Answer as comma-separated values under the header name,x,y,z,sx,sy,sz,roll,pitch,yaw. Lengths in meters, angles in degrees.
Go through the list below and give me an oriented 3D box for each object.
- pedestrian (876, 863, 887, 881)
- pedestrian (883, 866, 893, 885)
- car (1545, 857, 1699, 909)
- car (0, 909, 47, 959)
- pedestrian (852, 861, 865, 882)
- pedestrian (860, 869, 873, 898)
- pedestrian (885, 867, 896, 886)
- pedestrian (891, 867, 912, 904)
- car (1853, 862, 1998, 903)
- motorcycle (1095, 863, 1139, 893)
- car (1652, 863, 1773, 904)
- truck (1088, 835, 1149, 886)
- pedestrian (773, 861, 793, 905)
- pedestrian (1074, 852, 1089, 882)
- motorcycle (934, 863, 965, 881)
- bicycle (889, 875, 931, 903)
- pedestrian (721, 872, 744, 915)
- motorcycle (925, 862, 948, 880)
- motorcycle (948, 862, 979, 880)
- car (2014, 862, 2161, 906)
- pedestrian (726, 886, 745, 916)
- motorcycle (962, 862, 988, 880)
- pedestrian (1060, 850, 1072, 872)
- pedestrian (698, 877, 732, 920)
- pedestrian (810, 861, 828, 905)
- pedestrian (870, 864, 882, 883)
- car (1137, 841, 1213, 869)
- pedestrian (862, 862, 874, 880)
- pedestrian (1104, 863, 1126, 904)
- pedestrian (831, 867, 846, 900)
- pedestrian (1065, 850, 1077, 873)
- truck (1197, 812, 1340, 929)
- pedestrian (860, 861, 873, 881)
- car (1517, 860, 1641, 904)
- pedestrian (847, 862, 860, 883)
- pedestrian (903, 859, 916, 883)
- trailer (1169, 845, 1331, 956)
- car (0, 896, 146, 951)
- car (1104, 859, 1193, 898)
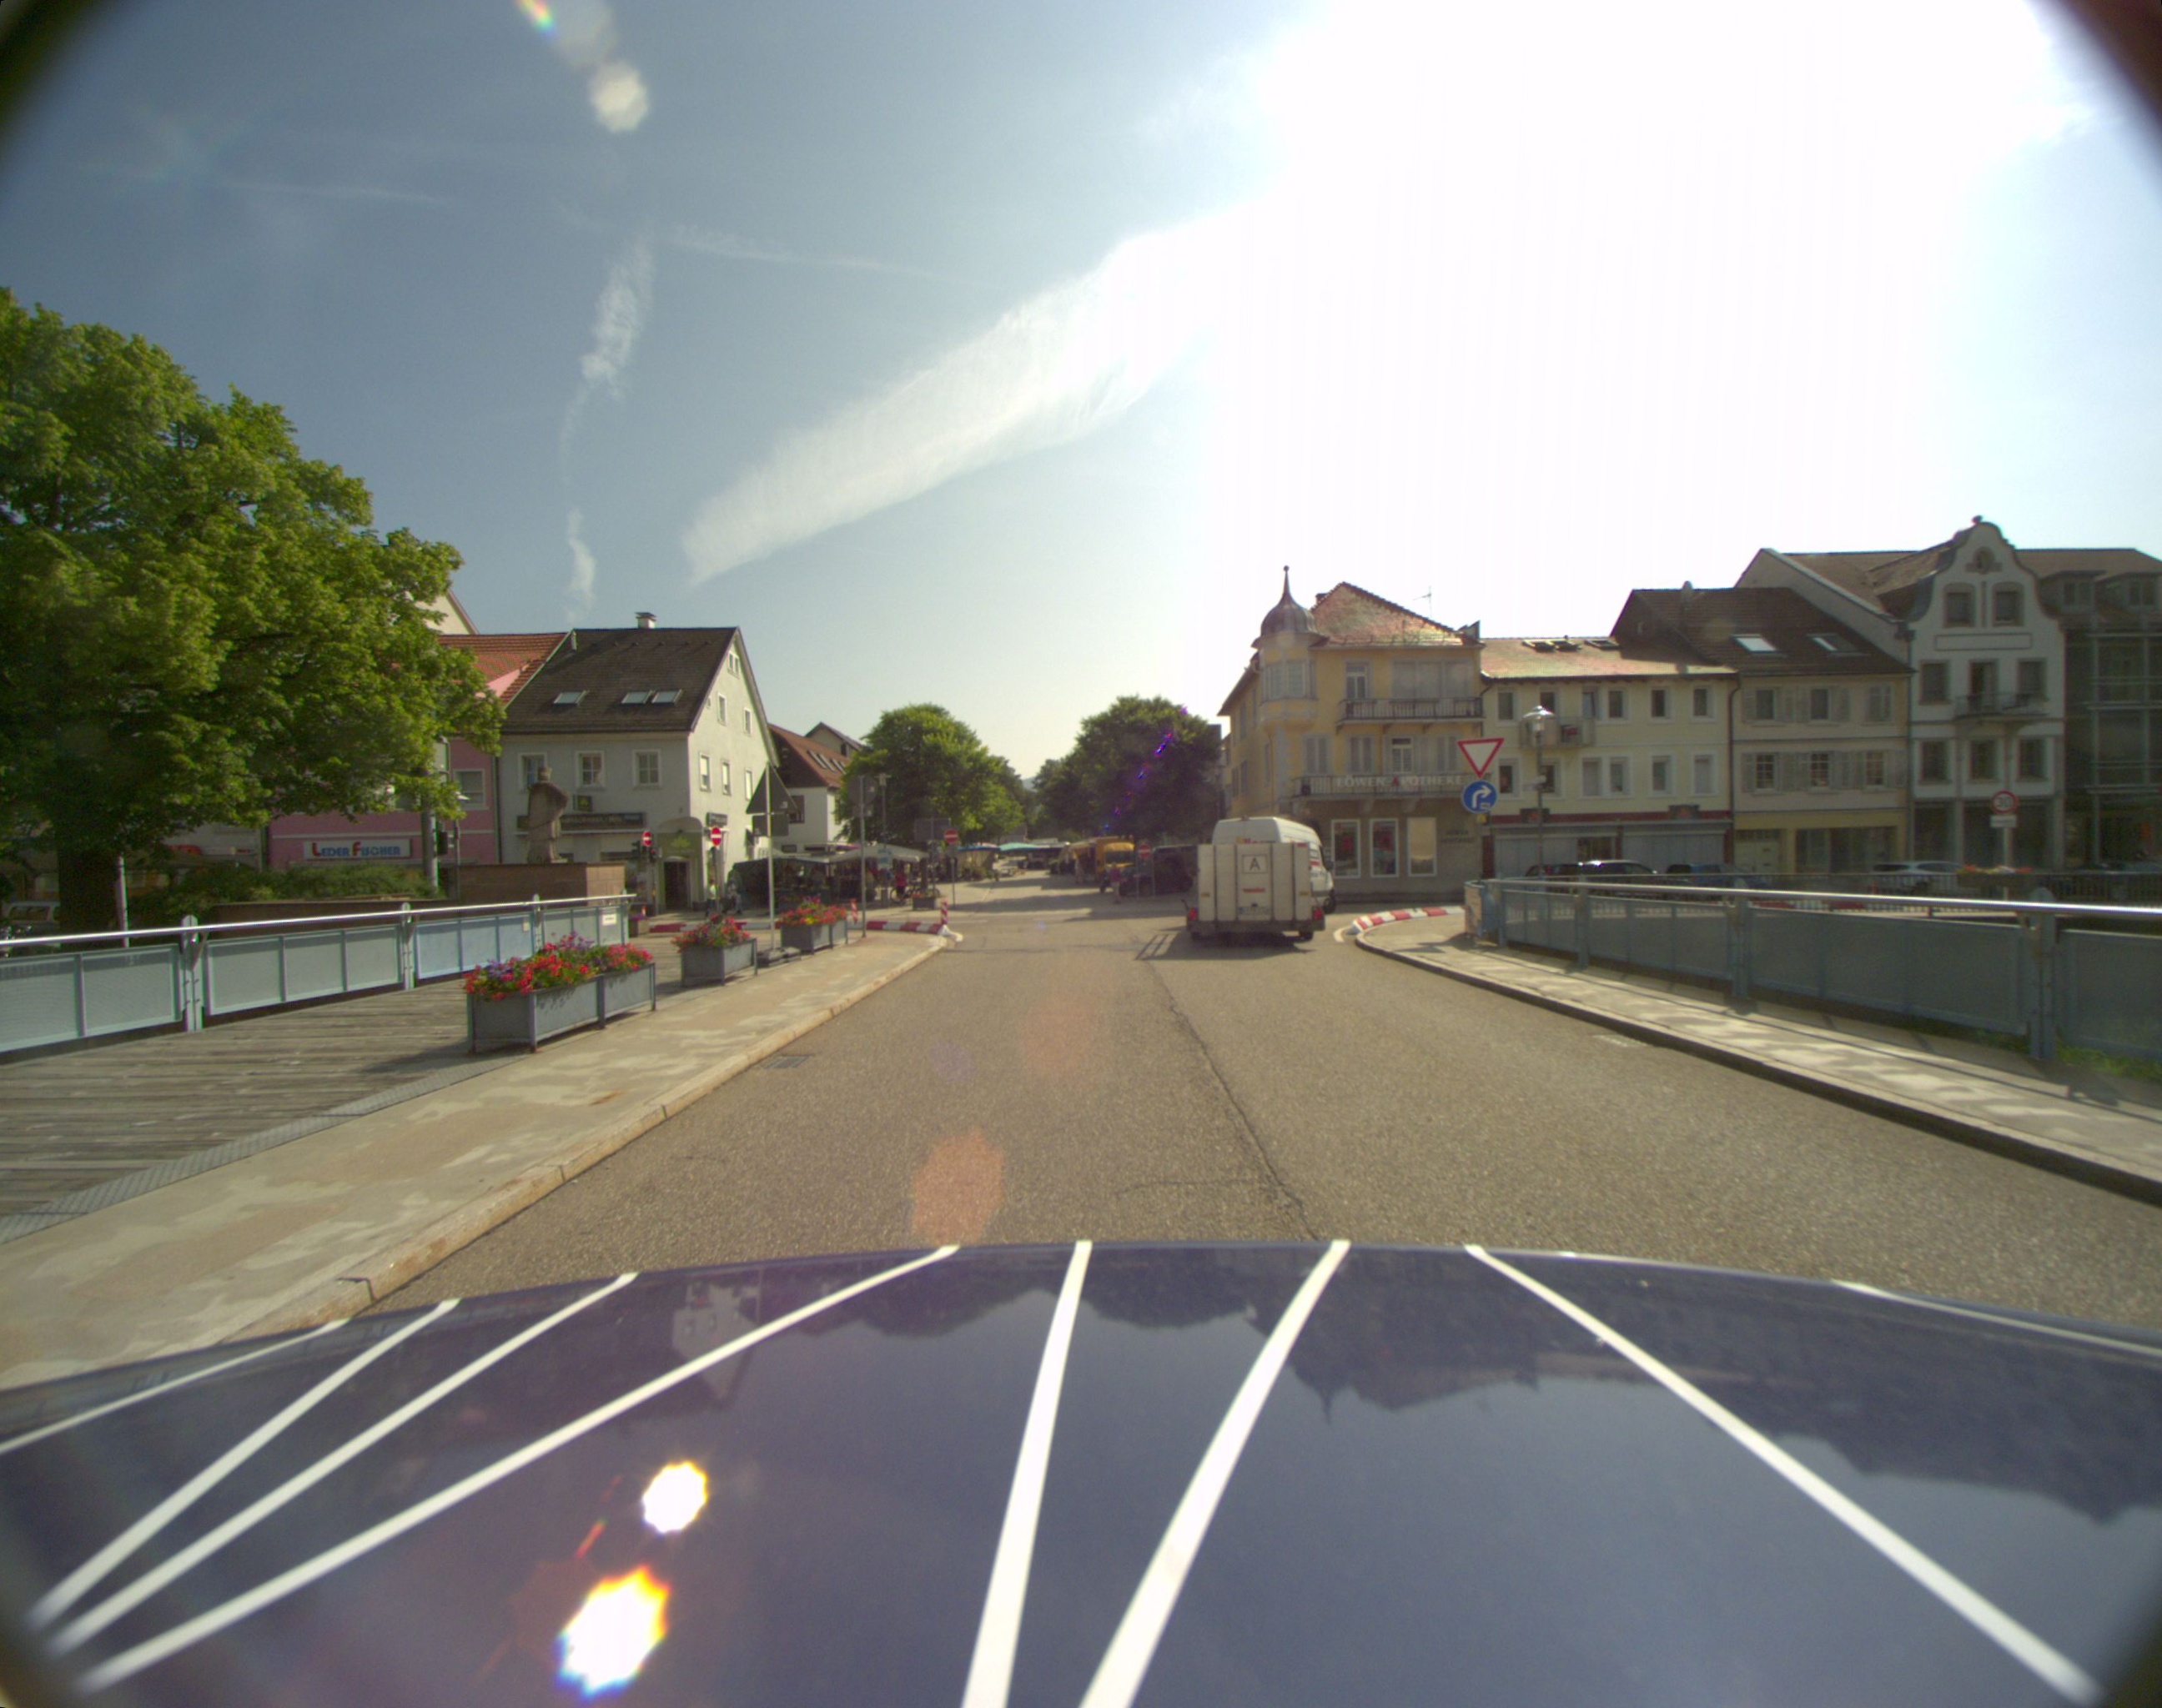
name,x,y,z,sx,sy,sz,roll,pitch,yaw
pedestrian,-13.650,1.206,51.901,0.572,1.194,0.650,1,2,0
pedestrian,-12.425,1.353,48.865,0.572,1.194,0.650,0,2,-11
car,18.210,0.955,25.685,3.968,1.552,1.684,-2,0,-1
car,-38.598,2.816,25.648,4.497,1.557,1.824,-2,2,-4
pedestrian,-14.659,1.147,50.038,0.626,1.323,0.699,1,2,2
pedestrian,-11.318,1.541,40.104,0.622,1.509,0.632,-2,0,-13
pedestrian,-11.996,1.396,47.802,0.700,1.194,0.571,0,2,-15
pedestrian,-8.142,1.426,34.458,0.884,1.649,0.571,0,2,-13
car,32.907,1.083,29.669,3.793,1.439,1.752,-1,0,-3
motorcycle,1.819,1.228,38.599,2.086,1.353,0.888,-4,1,-3
car,24.449,1.129,29.477,3.274,1.439,1.752,-1,0,-3
truck,2.108,0.250,46.422,3.009,2.742,8.857,-2,2,-1
pedestrian,-13.427,1.295,34.236,0.707,1.959,0.508,-2,0,-7
pedestrian,0.034,0.795,47.287,0.682,1.777,0.726,-4,2,-10
motorcycle,-9.162,1.246,52.813,2.002,1.189,0.644,1,2,12
bicycle,-8.038,1.644,35.747,1.863,1.228,0.616,-2,1,-14
pedestrian,-14.359,1.634,31.307,0.789,1.714,0.706,-2,0,-25
motorcycle,-10.242,1.204,53.934,1.532,1.189,0.643,1,1,-1
motorcycle,-8.272,1.196,53.458,2.002,1.189,0.644,1,1,12
car,35.972,1.027,26.785,4.198,1.348,1.756,-2,-1,-3
pedestrian,-13.970,1.906,30.750,0.623,1.153,0.515,-2,0,-20
motorcycle,-7.599,1.204,54.421,1.999,1.189,0.645,2,1,41
pedestrian,-1.138,0.545,58.778,0.682,1.672,0.582,-4,1,-16
pedestrian,-14.496,1.754,30.114,0.858,1.623,0.788,-2,3,0
pedestrian,-12.189,1.330,35.289,0.708,1.973,0.651,-2,0,-22
pedestrian,-13.378,1.267,49.532,0.572,1.194,0.650,1,2,0
car,6.737,0.060,54.856,5.071,1.880,1.999,-1,0,-5
pedestrian,-14.530,1.173,51.838,0.572,1.194,0.650,1,2,0
pedestrian,1.450,1.237,32.232,0.678,1.705,0.618,-1,2,30
pedestrian,-12.250,1.469,38.354,0.522,1.617,0.707,-1,0,-5
pedestrian,-0.763,0.562,58.206,0.682,1.672,0.582,-4,3,-18
truck,5.434,0.459,20.997,2.106,2.682,7.148,-2,-2,28
pedestrian,-14.386,1.142,50.962,0.626,1.323,0.699,1,2,2
car,19.191,1.068,29.377,3.566,1.559,1.852,-1,0,-3
pedestrian,-14.695,1.187,49.115,0.626,1.323,0.699,1,2,2
pedestrian,-11.048,1.094,48.909,0.698,1.544,0.572,1,2,5
trailer,3.324,0.805,15.441,2.615,1.817,5.643,-1,0,11
car,-38.607,2.604,28.670,4.144,1.730,1.711,-2,2,-4
car,3.237,1.104,35.978,3.965,1.534,1.918,-4,3,-40
